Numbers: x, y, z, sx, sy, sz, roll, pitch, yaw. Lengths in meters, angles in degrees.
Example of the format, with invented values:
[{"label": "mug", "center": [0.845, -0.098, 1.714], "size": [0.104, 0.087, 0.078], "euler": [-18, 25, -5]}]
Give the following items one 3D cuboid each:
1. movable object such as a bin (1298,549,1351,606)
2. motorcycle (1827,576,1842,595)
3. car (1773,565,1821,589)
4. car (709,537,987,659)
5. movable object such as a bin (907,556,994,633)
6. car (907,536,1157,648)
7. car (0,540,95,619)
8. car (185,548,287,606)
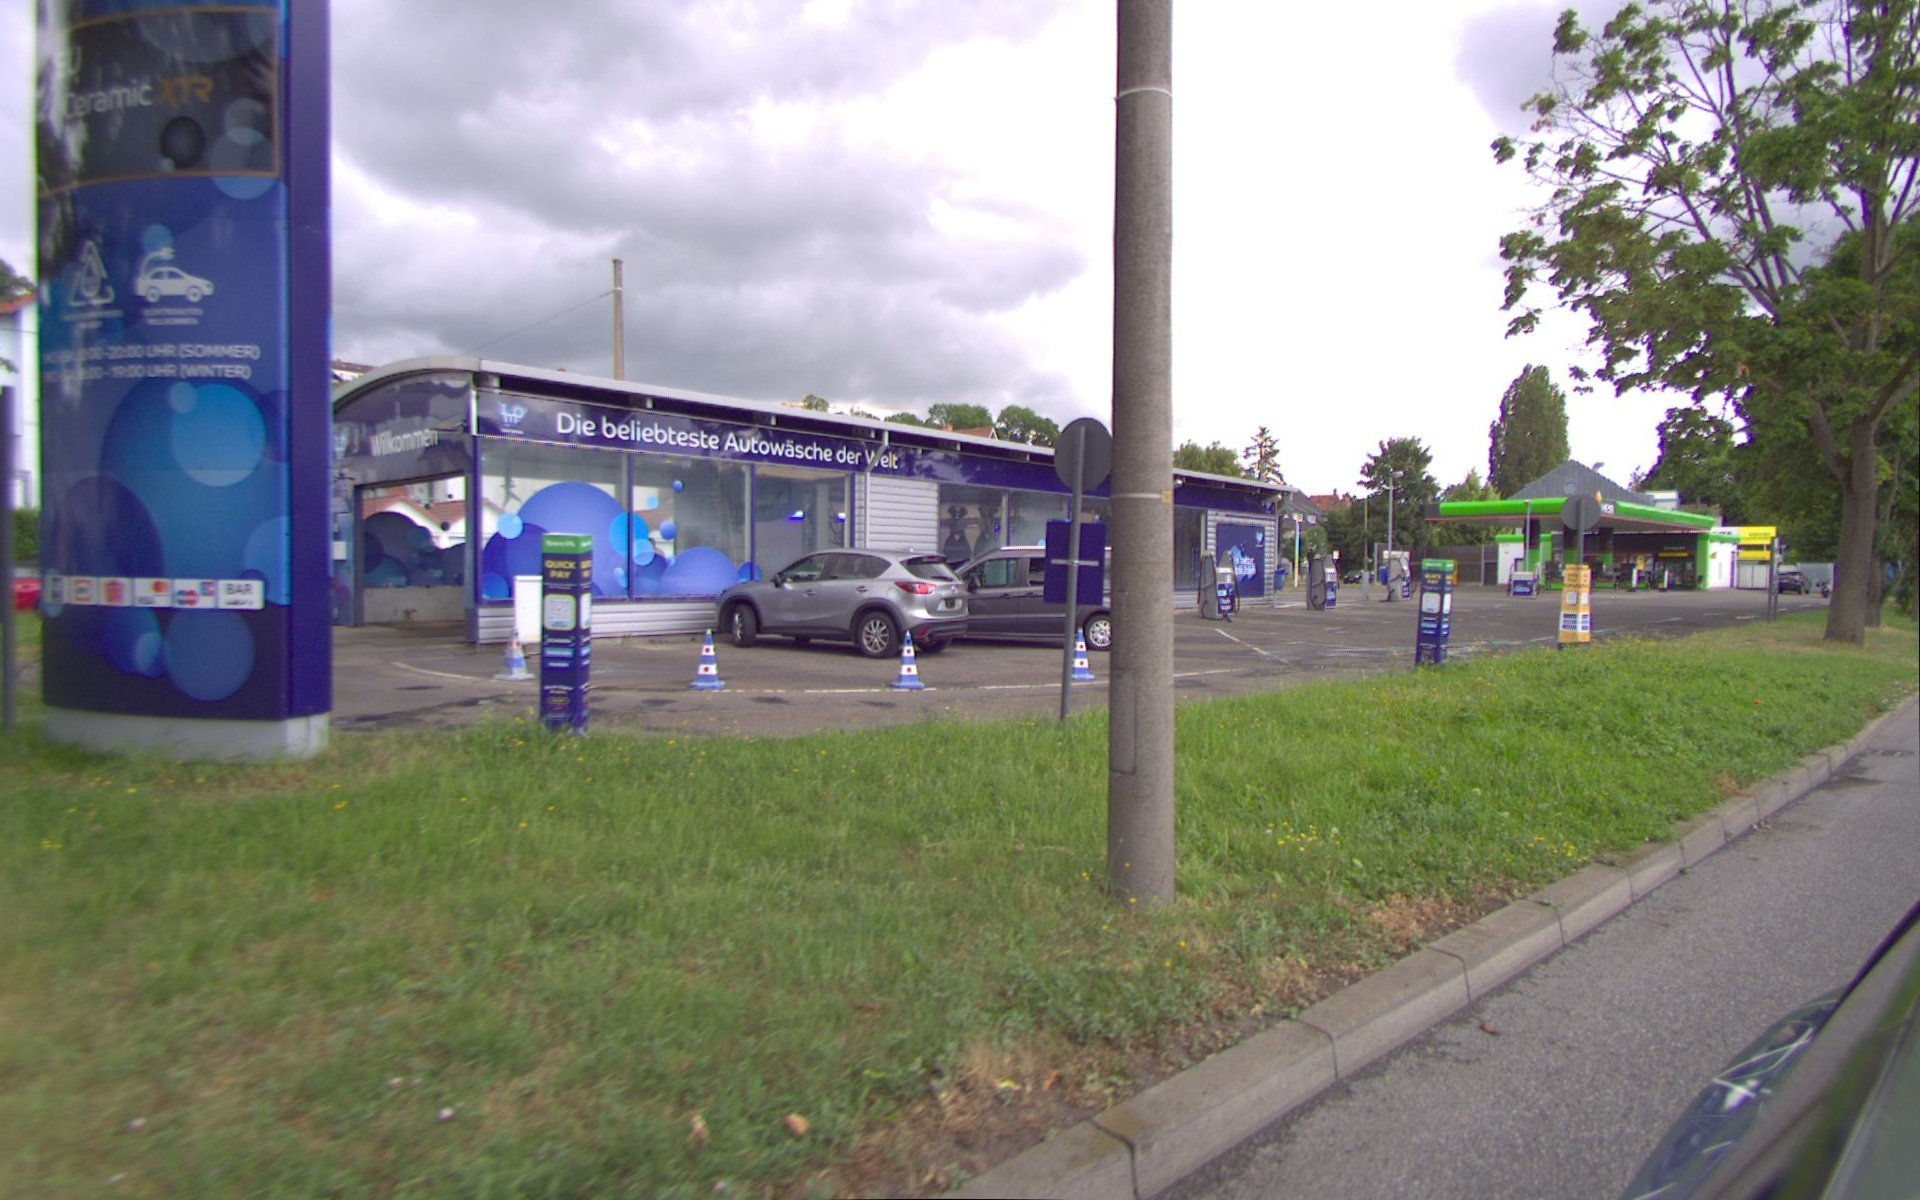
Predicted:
[{"label": "movable object such as a bin", "center": [12.184, -0.758, 33.830], "size": [1.159, 1.841, 1.432], "euler": [3, 2, 45]}, {"label": "motorcycle", "center": [59.769, -1.000, 69.188], "size": [0.702, 1.201, 2.352], "euler": [2, 3, 42]}, {"label": "car", "center": [61.887, -1.718, 74.823], "size": [4.252, 1.658, 1.998], "euler": [-1, 5, -41]}, {"label": "car", "center": [-1.841, -0.105, 16.301], "size": [4.176, 1.718, 1.821], "euler": [2, 2, 29]}, {"label": "movable object such as a bin", "center": [-0.201, -0.137, 20.867], "size": [1.159, 1.492, 1.365], "euler": [3, 3, 45]}, {"label": "car", "center": [1.300, -0.181, 18.457], "size": [4.308, 1.844, 1.749], "euler": [1, 2, 6]}, {"label": "car", "center": [-23.171, -0.468, 24.061], "size": [1.616, 1.866, 3.860], "euler": [-1, 0, 45]}, {"label": "car", "center": [-23.197, -0.698, 32.383], "size": [3.798, 1.716, 1.891], "euler": [-1, 0, 42]}]
